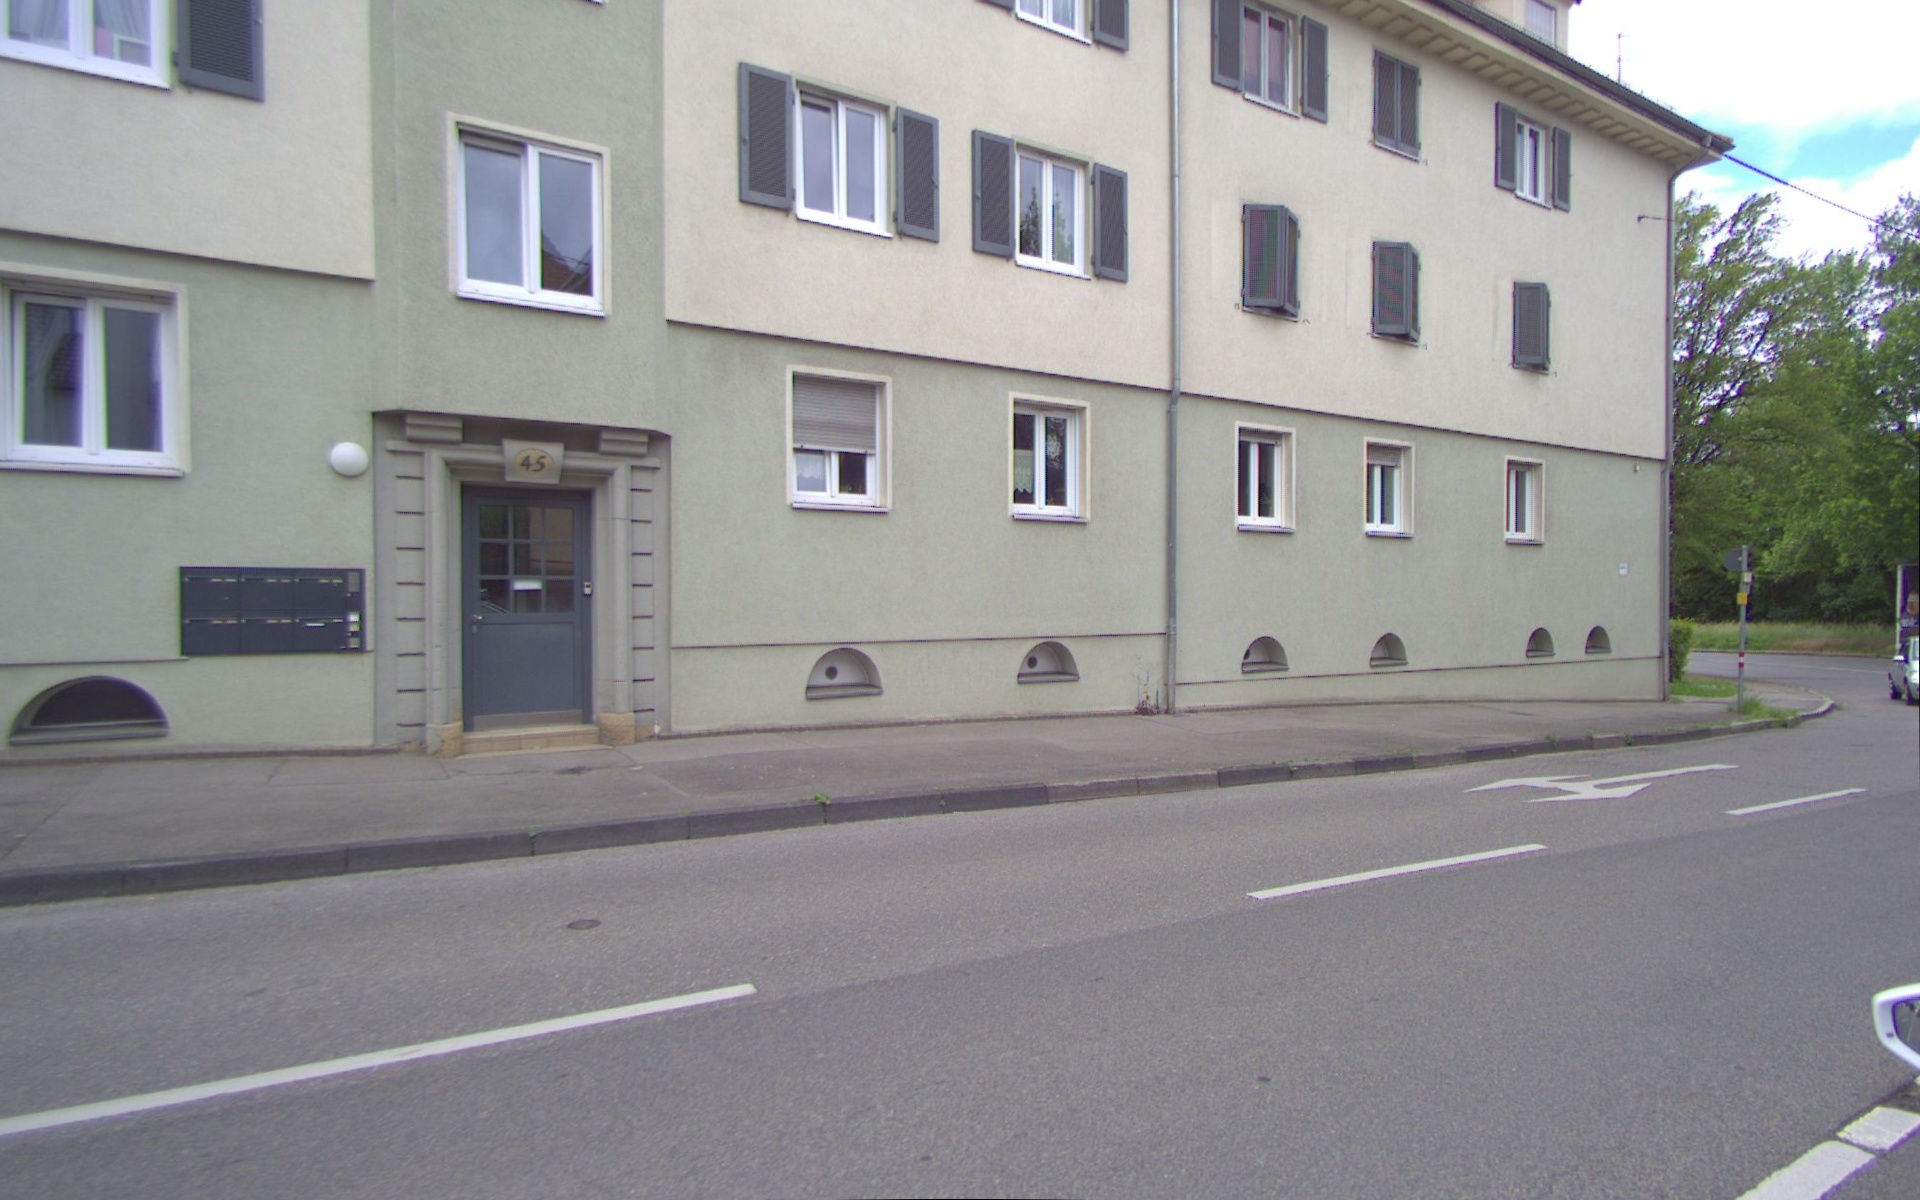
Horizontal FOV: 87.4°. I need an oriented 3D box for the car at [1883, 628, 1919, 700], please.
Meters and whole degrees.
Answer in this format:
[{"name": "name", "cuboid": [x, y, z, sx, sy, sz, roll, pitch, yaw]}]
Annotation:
[{"name": "car", "cuboid": [23.556, 1.488, 24.164, 1.702, 1.626, 3.959, -2, -2, 39]}]
